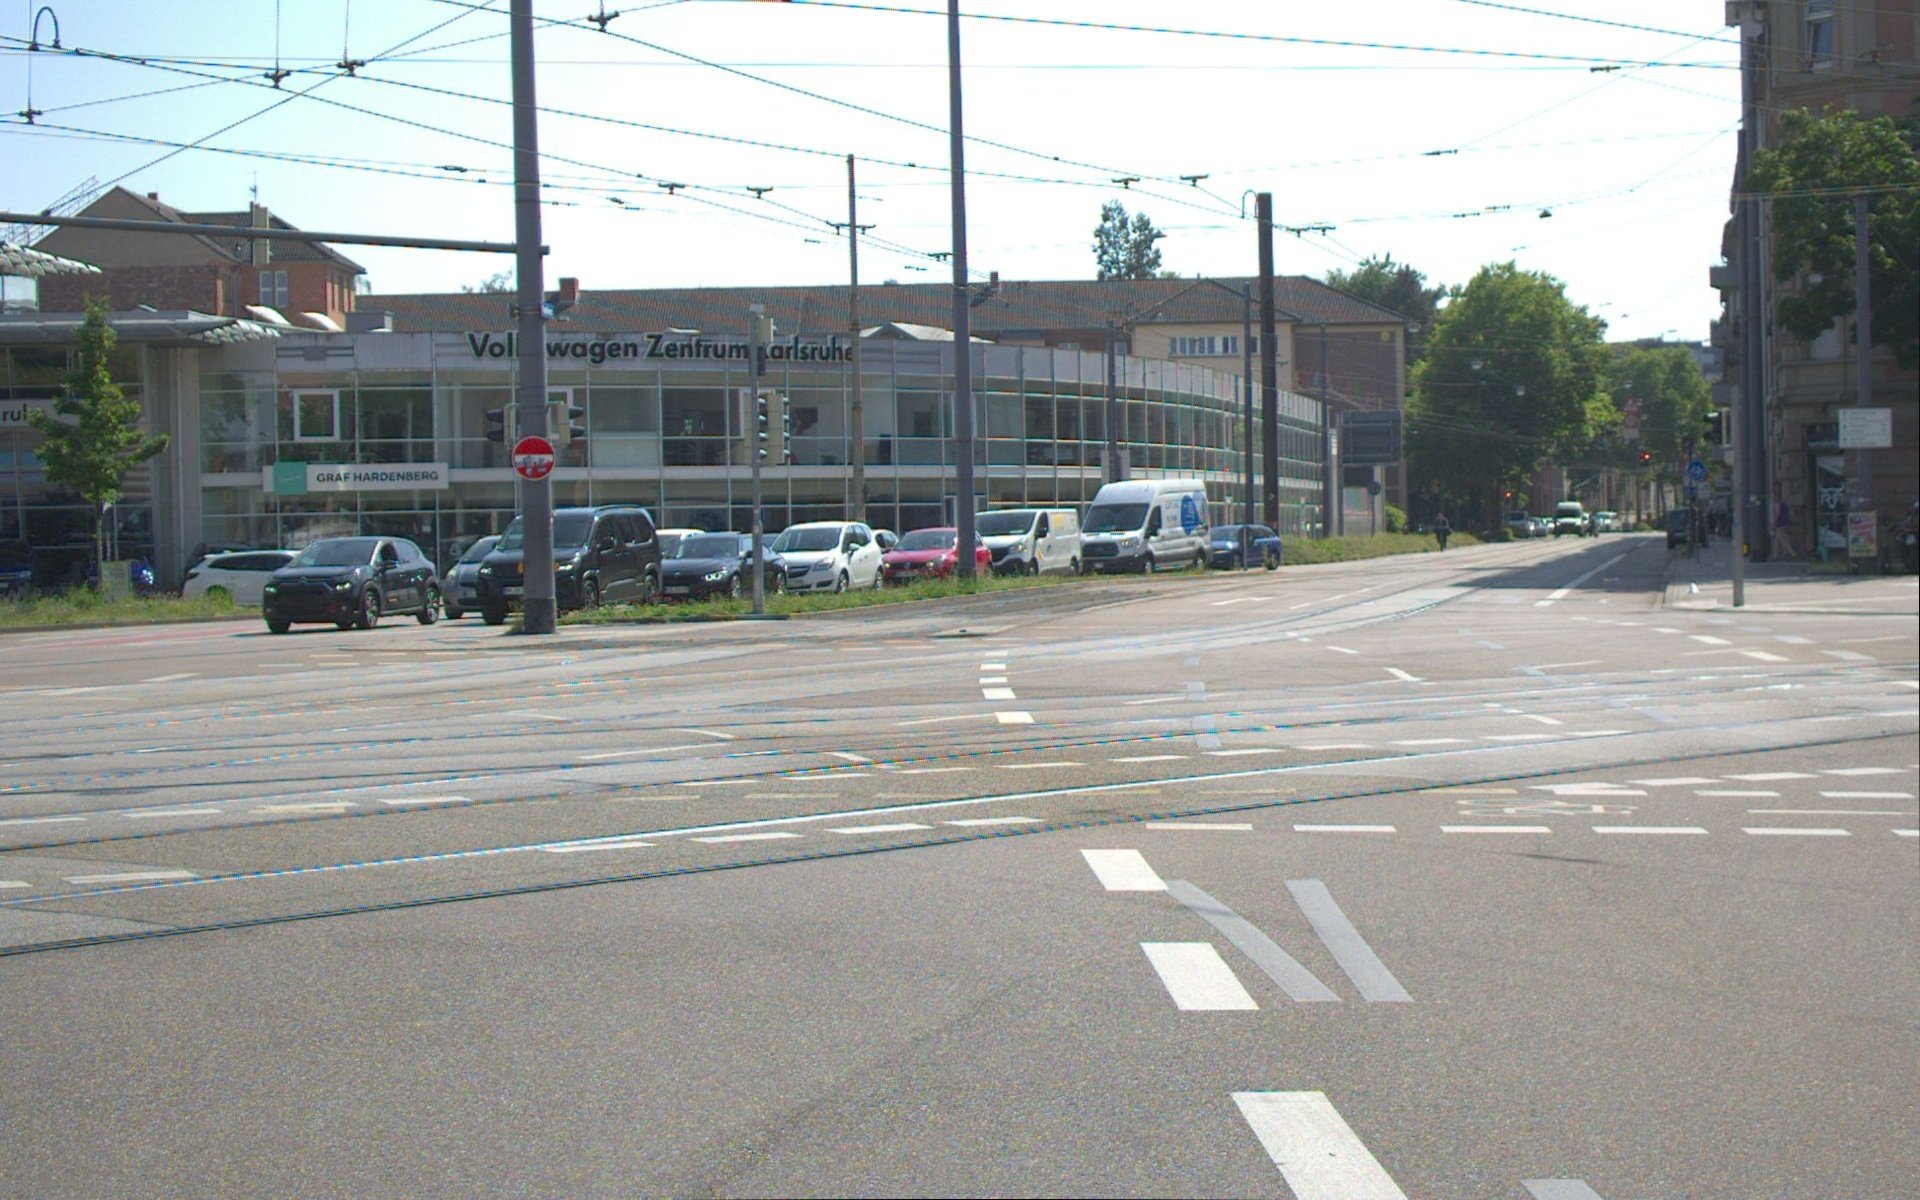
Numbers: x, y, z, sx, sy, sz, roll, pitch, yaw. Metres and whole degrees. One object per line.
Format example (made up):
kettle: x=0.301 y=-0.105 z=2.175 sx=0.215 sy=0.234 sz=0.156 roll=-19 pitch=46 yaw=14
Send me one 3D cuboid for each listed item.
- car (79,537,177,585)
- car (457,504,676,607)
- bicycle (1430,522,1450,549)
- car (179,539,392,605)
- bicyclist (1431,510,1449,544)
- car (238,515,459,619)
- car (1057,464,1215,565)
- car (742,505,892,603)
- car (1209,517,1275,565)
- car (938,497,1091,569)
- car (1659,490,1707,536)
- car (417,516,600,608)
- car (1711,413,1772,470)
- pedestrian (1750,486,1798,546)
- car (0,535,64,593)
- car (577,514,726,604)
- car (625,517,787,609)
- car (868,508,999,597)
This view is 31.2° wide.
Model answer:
car: x=-22.021 y=-1.041 z=91.102 sx=1.830 sy=1.191 sz=4.001 roll=1 pitch=1 yaw=-4
car: x=-6.375 y=-0.760 z=56.245 sx=1.962 sy=1.582 sz=4.713 roll=-1 pitch=1 yaw=15
bicycle: x=22.353 y=-3.002 z=160.123 sx=0.752 sy=1.190 sz=2.837 roll=1 pitch=0 yaw=11
car: x=-15.469 y=-0.654 z=78.854 sx=4.587 sy=1.431 sz=1.443 roll=1 pitch=0 yaw=12
bicyclist: x=22.377 y=-3.403 z=160.206 sx=0.752 sy=1.562 sz=1.086 roll=1 pitch=0 yaw=11
car: x=-9.816 y=-0.525 z=55.516 sx=1.893 sy=1.582 sz=4.207 roll=-1 pitch=0 yaw=15
car: x=4.738 y=-2.251 z=91.618 sx=2.211 sy=2.566 sz=5.867 roll=1 pitch=1 yaw=24
car: x=-2.881 y=-0.921 z=70.219 sx=1.895 sy=1.910 sz=4.198 roll=-1 pitch=0 yaw=15
car: x=8.603 y=-1.795 z=104.709 sx=1.385 sy=1.409 sz=3.010 roll=1 pitch=1 yaw=17
car: x=1.381 y=-1.666 z=84.420 sx=2.187 sy=1.675 sz=5.024 roll=-1 pitch=1 yaw=20
car: x=33.290 y=-3.991 z=158.197 sx=2.110 sy=2.007 sz=3.998 roll=1 pitch=0 yaw=12
car: x=-8.155 y=-0.669 z=62.388 sx=1.895 sy=1.582 sz=3.997 roll=-1 pitch=0 yaw=15
car: x=29.740 y=-6.031 z=130.900 sx=1.994 sy=2.007 sz=3.998 roll=1 pitch=0 yaw=10
pedestrian: x=19.742 y=-2.026 z=83.381 sx=0.711 sy=1.428 sz=0.886 roll=-2 pitch=2 yaw=-44
car: x=-25.226 y=-0.975 z=91.380 sx=1.993 sy=1.481 sz=4.001 roll=1 pitch=1 yaw=-4
car: x=-6.178 y=-0.818 z=69.351 sx=1.652 sy=1.733 sz=4.198 roll=-1 pitch=0 yaw=15
car: x=-4.602 y=-0.659 z=62.864 sx=1.895 sy=1.582 sz=3.998 roll=-1 pitch=0 yaw=12
car: x=-0.551 y=-1.043 z=77.203 sx=1.895 sy=1.910 sz=4.198 roll=-1 pitch=0 yaw=15
